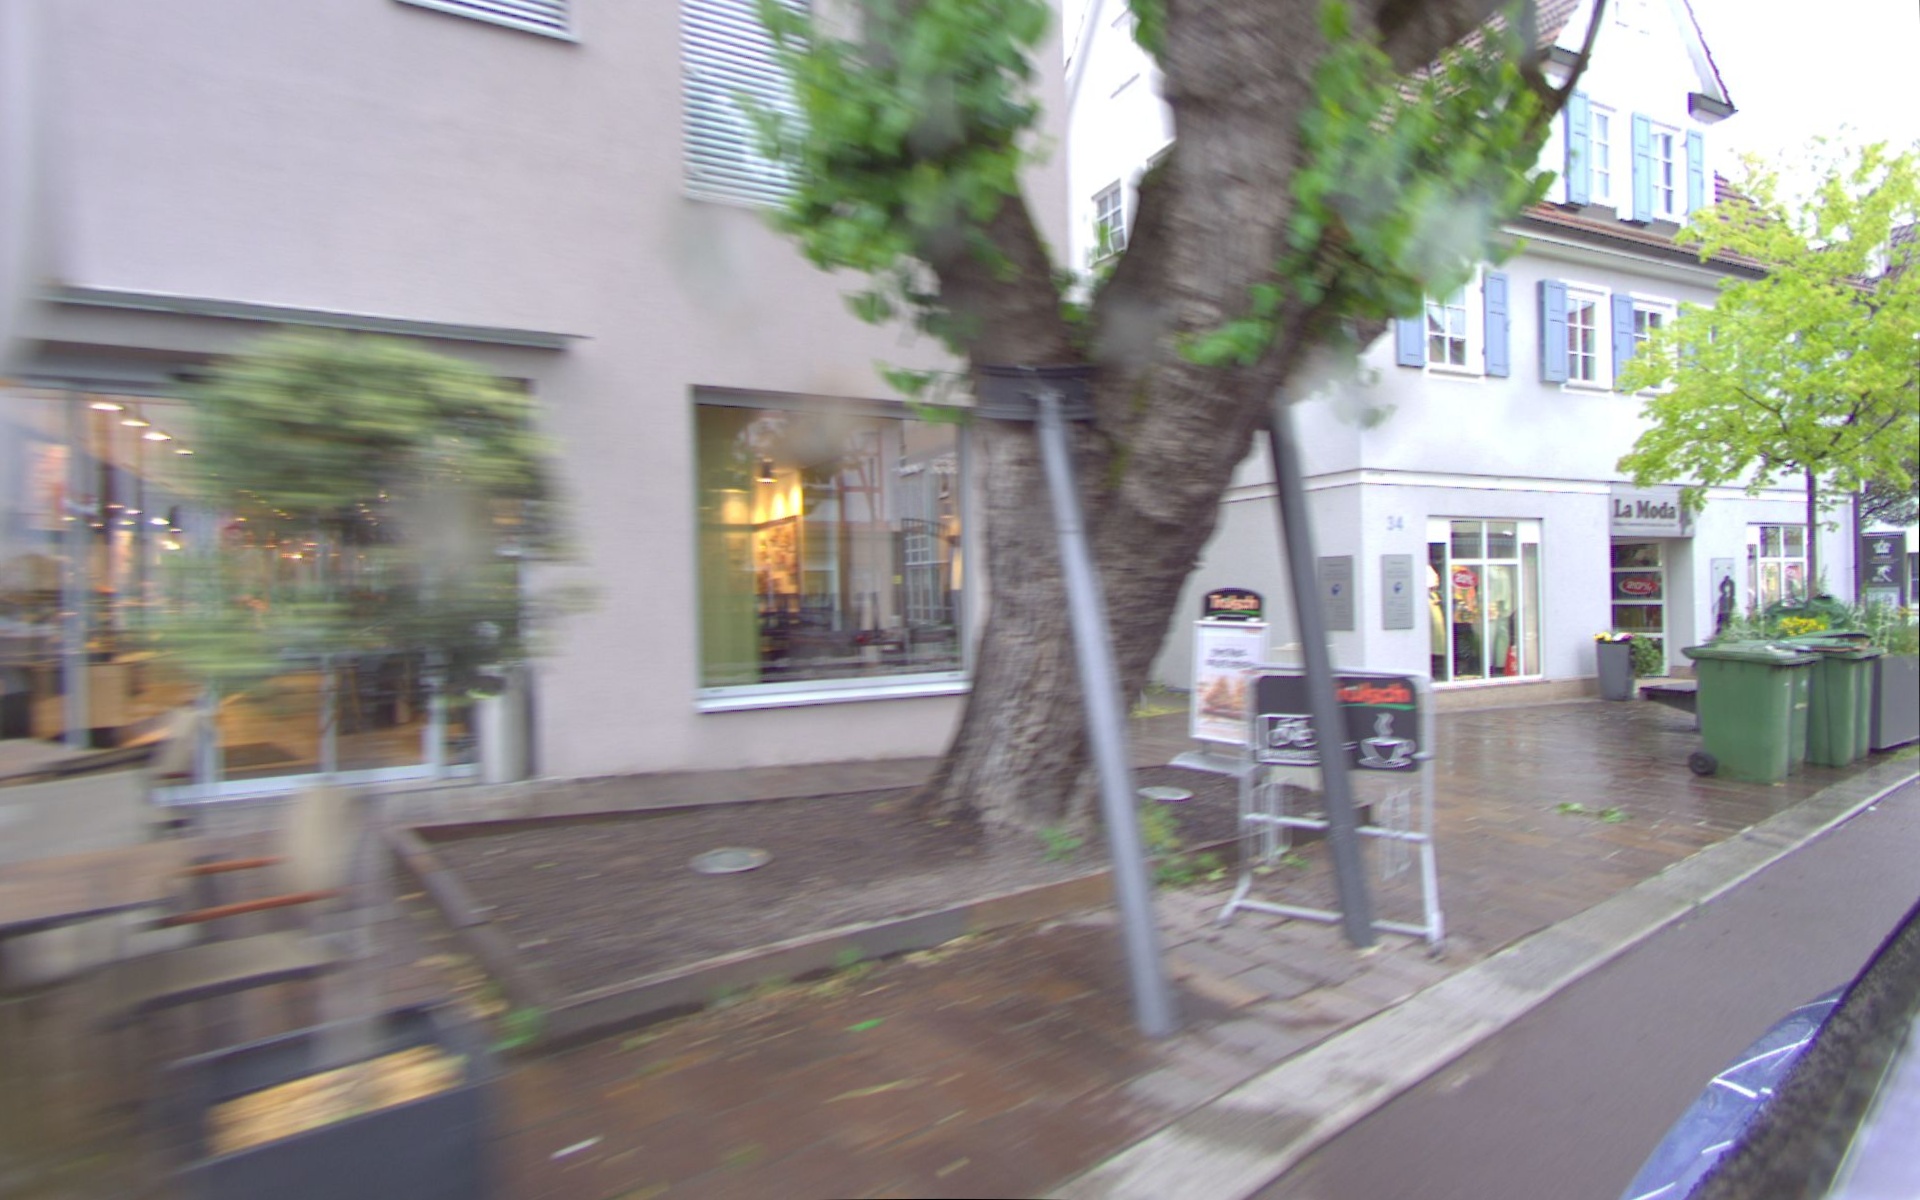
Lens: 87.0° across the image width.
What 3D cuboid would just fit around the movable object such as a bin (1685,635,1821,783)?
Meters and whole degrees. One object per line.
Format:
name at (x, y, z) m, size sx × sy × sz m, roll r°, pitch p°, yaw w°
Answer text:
movable object such as a bin at (6.409, 0.846, 8.188) m, size 0.527 × 1.088 × 0.765 m, roll 0°, pitch 0°, yaw -38°
